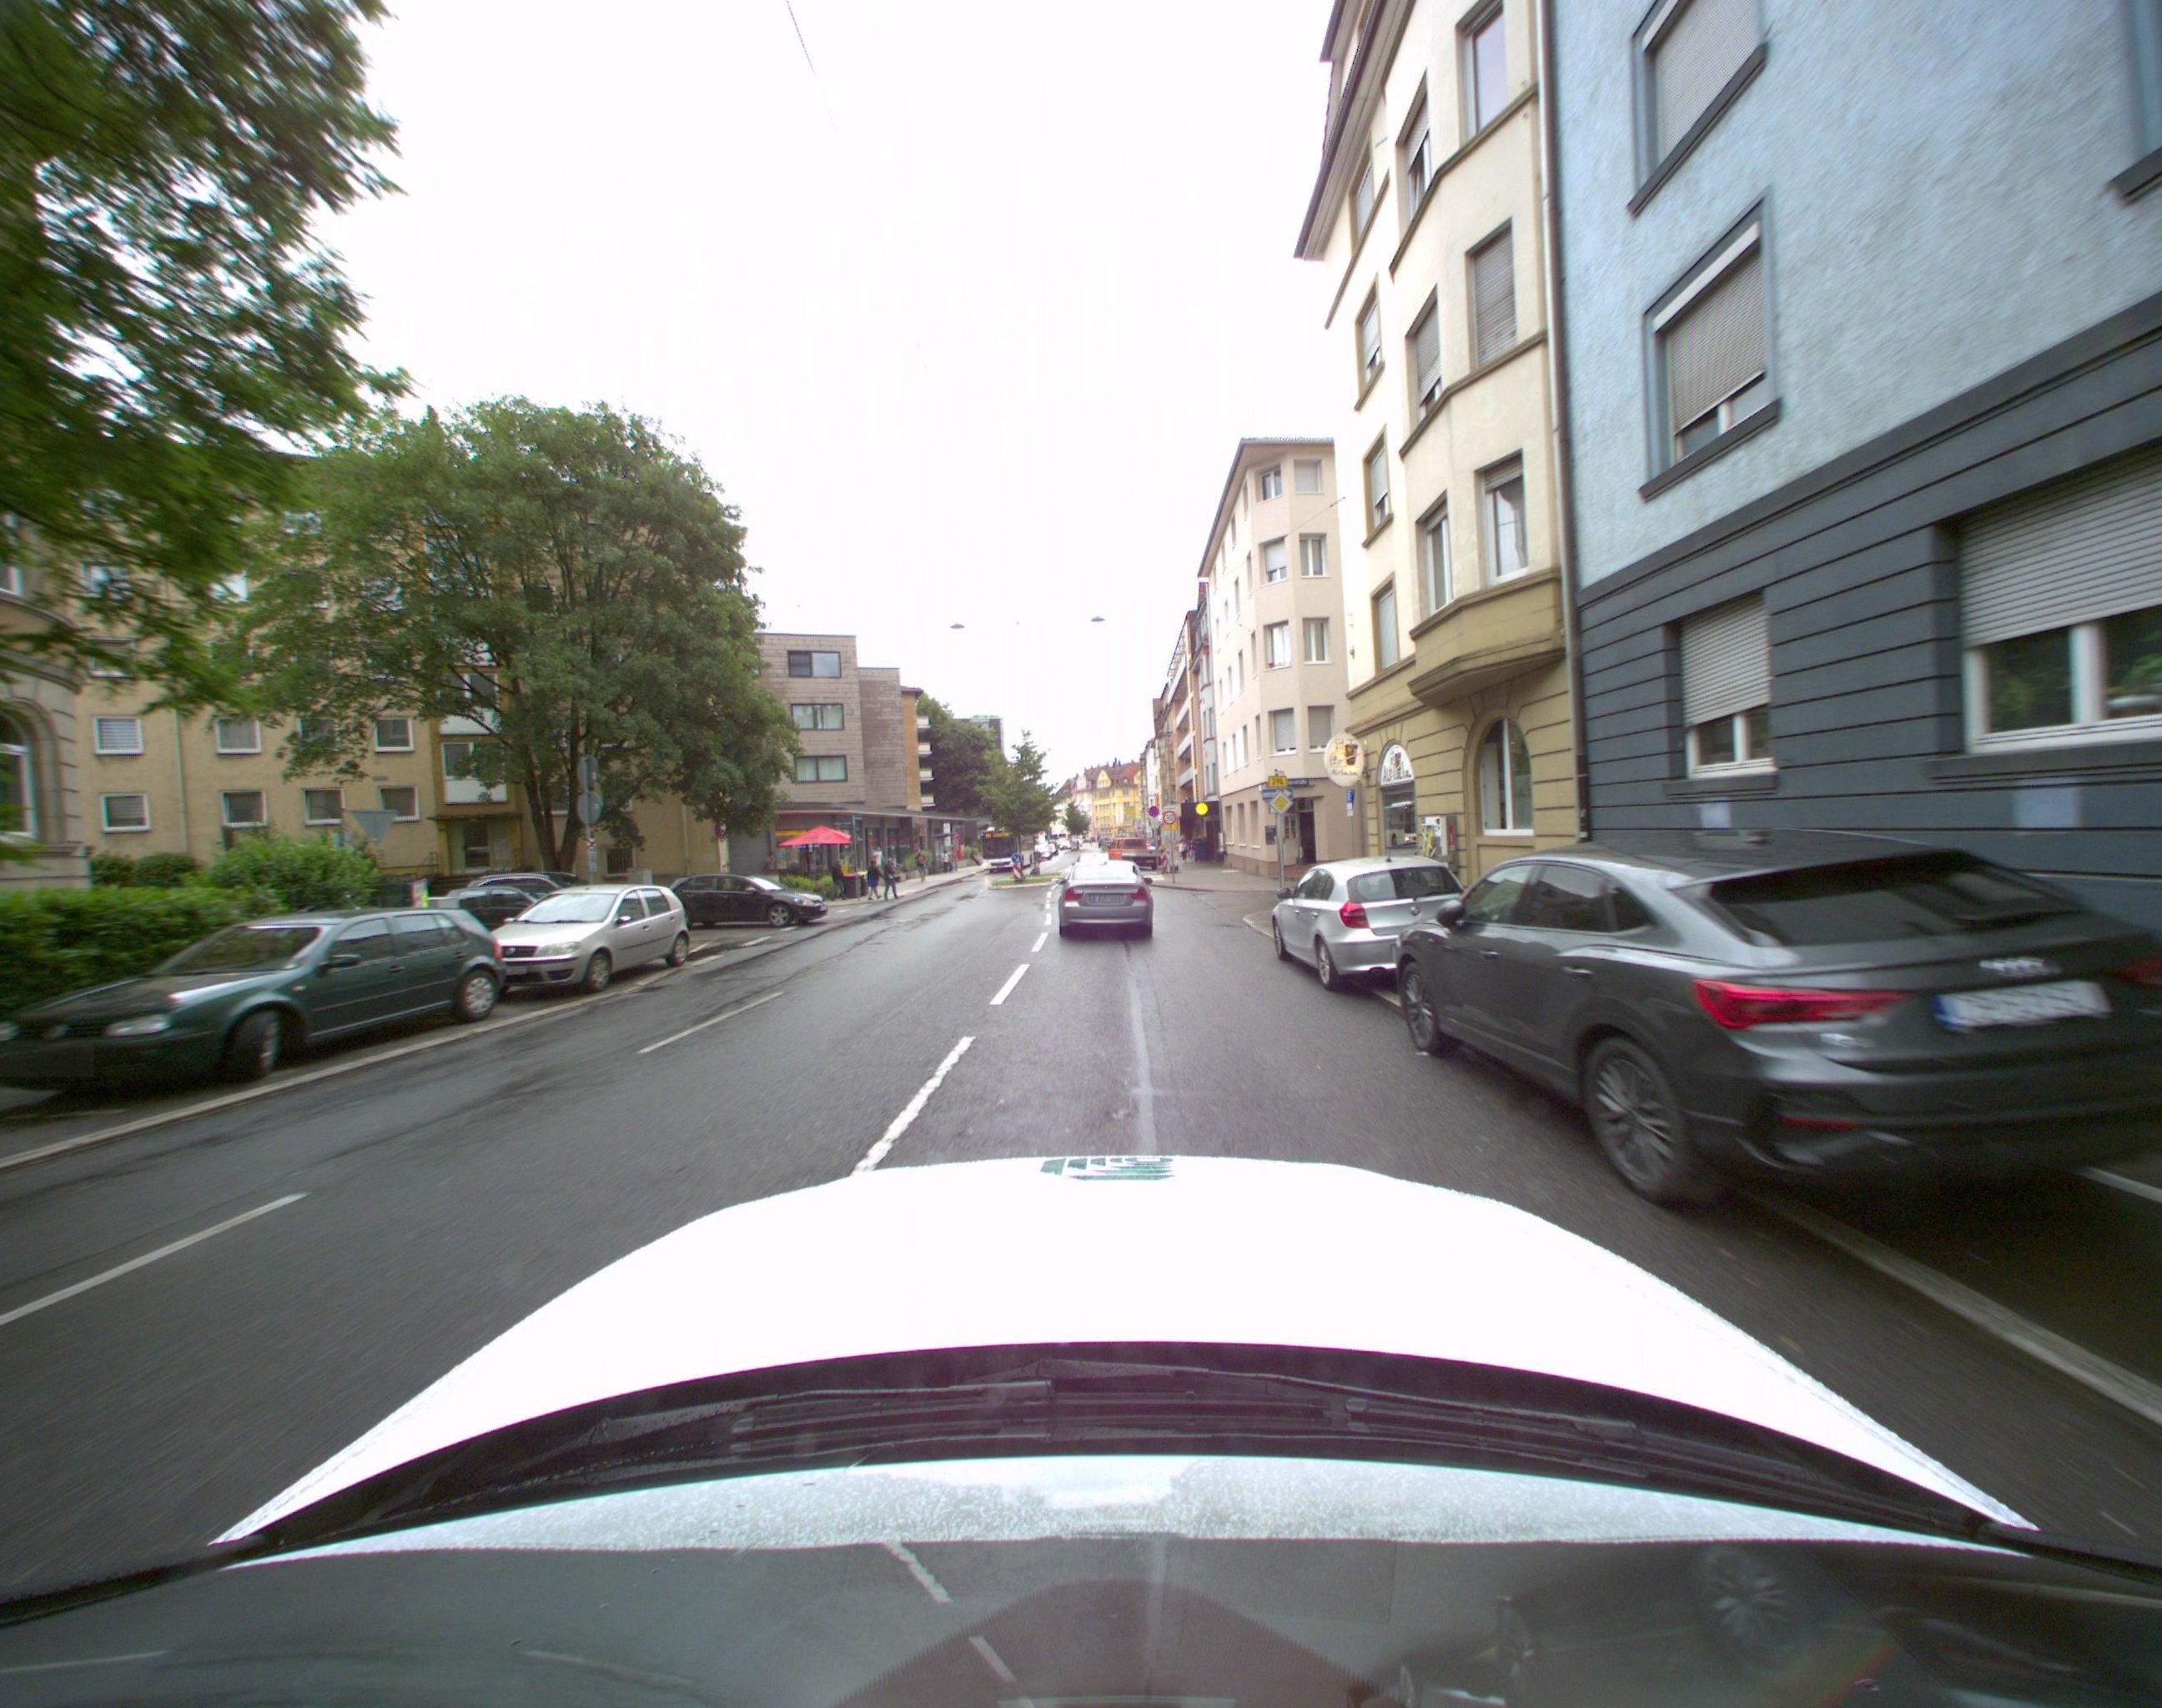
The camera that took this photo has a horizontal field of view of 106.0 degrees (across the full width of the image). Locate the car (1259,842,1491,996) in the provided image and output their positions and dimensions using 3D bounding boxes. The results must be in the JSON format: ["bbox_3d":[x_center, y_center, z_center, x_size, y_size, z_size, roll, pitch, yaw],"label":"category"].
[{"bbox_3d":[3.463,0.667,10.421,1.563,1.464,4.092,-5,0,3],"label":"car"}]

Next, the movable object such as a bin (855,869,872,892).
[{"bbox_3d":[-10.272,1.256,38.514,0.466,1.071,0.544,-5,-2,38],"label":"movable object such as a bin"}]

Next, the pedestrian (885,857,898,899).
[{"bbox_3d":[-7.736,0.973,33.283,0.466,1.709,0.541,0,-1,-18],"label":"pedestrian"}]

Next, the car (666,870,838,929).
[{"bbox_3d":[-8.640,1.172,21.618,3.802,1.390,1.743,-2,-1,1],"label":"car"}]

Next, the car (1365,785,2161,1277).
[{"bbox_3d":[3.329,0.586,4.897,1.810,1.557,4.296,-5,0,3],"label":"car"}]

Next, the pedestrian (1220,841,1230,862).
[{"bbox_3d":[8.572,-0.146,48.450,0.410,1.203,0.357,-5,1,4],"label":"pedestrian"}]

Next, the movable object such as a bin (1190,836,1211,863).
[{"bbox_3d":[8.108,-0.305,55.222,1.119,1.702,1.433,-4,-1,0],"label":"movable object such as a bin"}]

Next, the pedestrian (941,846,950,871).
[{"bbox_3d":[-9.319,0.332,55.991,0.542,1.709,0.465,0,-1,-5],"label":"pedestrian"}]

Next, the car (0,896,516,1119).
[{"bbox_3d":[-8.003,1.302,8.278,1.648,1.454,3.942,-3,0,1],"label":"car"}]

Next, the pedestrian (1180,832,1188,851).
[{"bbox_3d":[9.145,-1.082,72.259,0.611,1.661,0.756,0,-1,8],"label":"pedestrian"}]

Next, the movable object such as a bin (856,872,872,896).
[{"bbox_3d":[-10.070,1.400,37.824,0.488,1.081,0.606,-4,-1,3],"label":"movable object such as a bin"}]

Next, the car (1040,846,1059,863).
[{"bbox_3d":[-3.745,0.108,97.438,1.986,2.014,4.001,0,-1,1],"label":"car"}]

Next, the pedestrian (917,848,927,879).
[{"bbox_3d":[-9.330,0.555,47.780,0.542,1.790,0.465,0,-1,-7],"label":"pedestrian"}]

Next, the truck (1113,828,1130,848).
[{"bbox_3d":[5.535,-2.176,112.695,2.208,2.544,4.781,0,-1,1],"label":"truck"}]

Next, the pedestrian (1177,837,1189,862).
[{"bbox_3d":[6.812,-0.282,54.451,0.745,1.661,0.839,0,-1,8],"label":"pedestrian"}]

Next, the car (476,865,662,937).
[{"bbox_3d":[-13.576,1.215,21.741,3.795,1.582,1.694,-3,2,1],"label":"car"}]

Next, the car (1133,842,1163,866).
[{"bbox_3d":[4.576,0.009,55.908,1.802,1.519,4.001,-2,0,1],"label":"car"}]

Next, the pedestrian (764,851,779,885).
[{"bbox_3d":[-16.777,0.749,44.151,0.637,1.816,0.632,-3,1,-27],"label":"pedestrian"}]

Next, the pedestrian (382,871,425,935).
[{"bbox_3d":[-18.617,1.341,22.398,0.627,1.682,0.814,0,1,-17],"label":"pedestrian"}]

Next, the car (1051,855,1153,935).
[{"bbox_3d":[0.434,0.738,15.797,1.749,1.362,3.166,-2,-1,2],"label":"car"}]

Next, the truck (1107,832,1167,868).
[{"bbox_3d":[3.445,-0.220,51.121,2.221,2.117,4.625,1,0,-17],"label":"truck"}]

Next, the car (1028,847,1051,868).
[{"bbox_3d":[-4.067,0.337,80.731,1.986,2.014,4.001,0,-1,1],"label":"car"}]

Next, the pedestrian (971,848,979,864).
[{"bbox_3d":[-9.341,0.191,71.977,0.617,1.378,0.545,0,-1,3],"label":"pedestrian"}]

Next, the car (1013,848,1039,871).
[{"bbox_3d":[-4.921,0.503,73.851,1.986,2.014,4.001,0,-1,1],"label":"car"}]

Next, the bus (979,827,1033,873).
[{"bbox_3d":[-5.523,-0.187,61.989,2.671,3.201,11.958,0,-1,1],"label":"bus"}]

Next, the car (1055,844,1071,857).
[{"bbox_3d":[-2.810,-0.532,128.945,1.983,2.014,4.008,0,-1,7],"label":"car"}]

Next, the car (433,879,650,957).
[{"bbox_3d":[-12.373,1.447,18.836,3.798,1.389,1.745,-3,2,4],"label":"car"}]

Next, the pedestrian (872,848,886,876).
[{"bbox_3d":[-12.736,0.511,51.389,0.665,1.706,0.652,1,-1,-40],"label":"pedestrian"}]

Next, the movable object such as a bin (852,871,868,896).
[{"bbox_3d":[-10.103,1.343,37.185,0.488,1.081,0.606,-4,-1,3],"label":"movable object such as a bin"}]

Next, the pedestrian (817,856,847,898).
[{"bbox_3d":[-10.611,0.980,34.767,1.061,1.731,0.712,-2,1,-8],"label":"pedestrian"}]

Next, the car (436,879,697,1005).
[{"bbox_3d":[-7.702,1.221,12.682,1.627,1.454,3.837,-3,0,-1],"label":"car"}]

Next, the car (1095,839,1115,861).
[{"bbox_3d":[2.155,-0.331,74.882,1.699,2.014,3.999,0,-1,0],"label":"car"}]

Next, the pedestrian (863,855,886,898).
[{"bbox_3d":[-8.589,0.947,33.860,0.742,1.709,0.676,-5,1,-19],"label":"pedestrian"}]

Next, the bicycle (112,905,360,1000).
[{"bbox_3d":[-11.578,1.330,11.236,2.340,1.046,0.805,-3,0,-7],"label":"bicycle"}]

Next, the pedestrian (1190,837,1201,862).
[{"bbox_3d":[7.547,-0.292,53.630,0.746,1.661,0.756,0,-1,8],"label":"pedestrian"}]

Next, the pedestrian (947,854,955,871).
[{"bbox_3d":[-9.224,0.596,57.899,0.463,1.230,0.545,0,-1,3],"label":"pedestrian"}]

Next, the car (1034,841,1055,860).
[{"bbox_3d":[-4.063,-0.400,90.936,1.986,2.014,4.001,0,-1,1],"label":"car"}]

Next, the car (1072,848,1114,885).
[{"bbox_3d":[0.462,0.497,32.622,1.597,1.420,3.287,0,-1,0],"label":"car"}]

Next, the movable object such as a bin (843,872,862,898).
[{"bbox_3d":[-10.183,1.371,36.358,0.551,1.081,0.731,-4,-1,3],"label":"movable object such as a bin"}]
